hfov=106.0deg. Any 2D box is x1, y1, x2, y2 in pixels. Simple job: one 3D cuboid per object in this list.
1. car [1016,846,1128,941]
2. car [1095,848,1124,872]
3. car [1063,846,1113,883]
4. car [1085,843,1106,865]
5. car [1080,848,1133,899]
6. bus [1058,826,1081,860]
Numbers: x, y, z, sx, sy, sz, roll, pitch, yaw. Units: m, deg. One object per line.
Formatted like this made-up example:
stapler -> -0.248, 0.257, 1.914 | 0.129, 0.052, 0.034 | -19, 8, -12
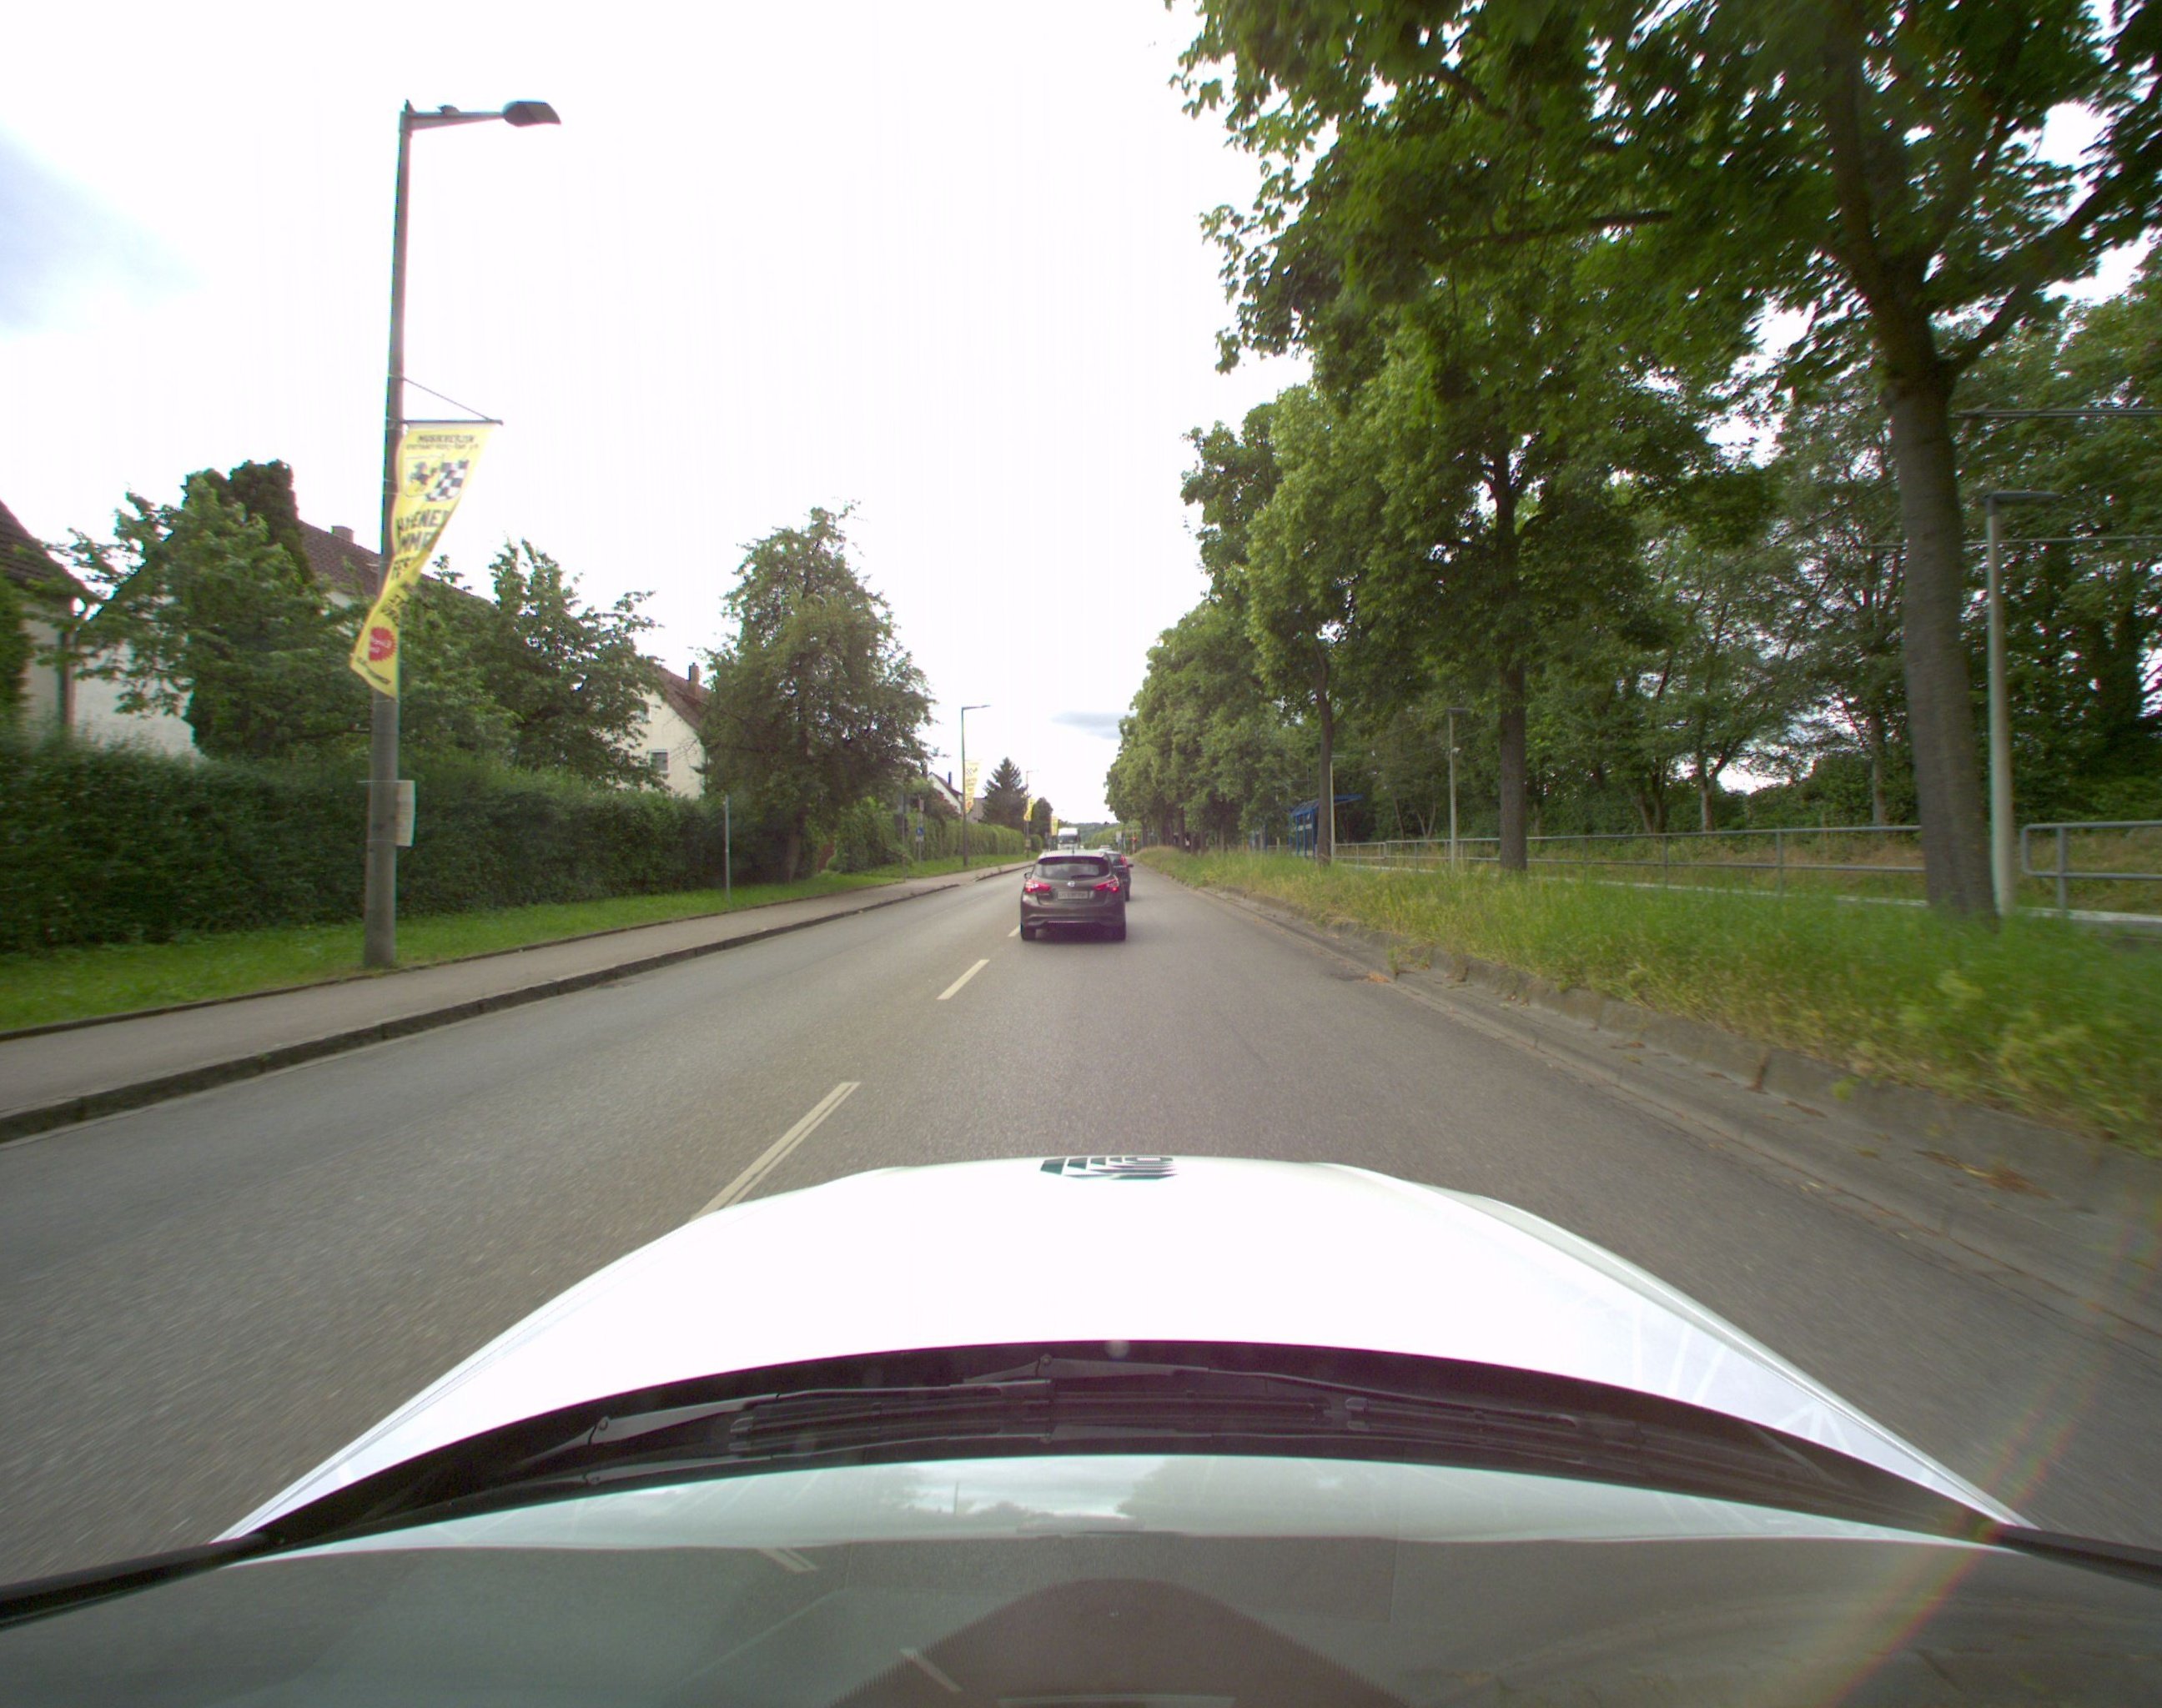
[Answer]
car -> -0.078, 0.641, 14.864 | 1.777, 1.507, 3.697 | -1, 0, 2
car -> 1.727, 0.361, 50.230 | 1.685, 1.441, 3.542 | 0, 0, 1
car -> 0.358, 0.443, 34.839 | 1.986, 1.486, 4.001 | 1, -1, 2
car -> 1.415, -0.012, 79.135 | 1.986, 2.014, 4.001 | 1, -1, 2
car -> 0.766, 0.551, 25.109 | 1.496, 1.441, 3.542 | 0, 0, 1
bus -> -1.325, -1.346, 101.565 | 2.478, 4.025, 10.220 | 0, 0, 1
